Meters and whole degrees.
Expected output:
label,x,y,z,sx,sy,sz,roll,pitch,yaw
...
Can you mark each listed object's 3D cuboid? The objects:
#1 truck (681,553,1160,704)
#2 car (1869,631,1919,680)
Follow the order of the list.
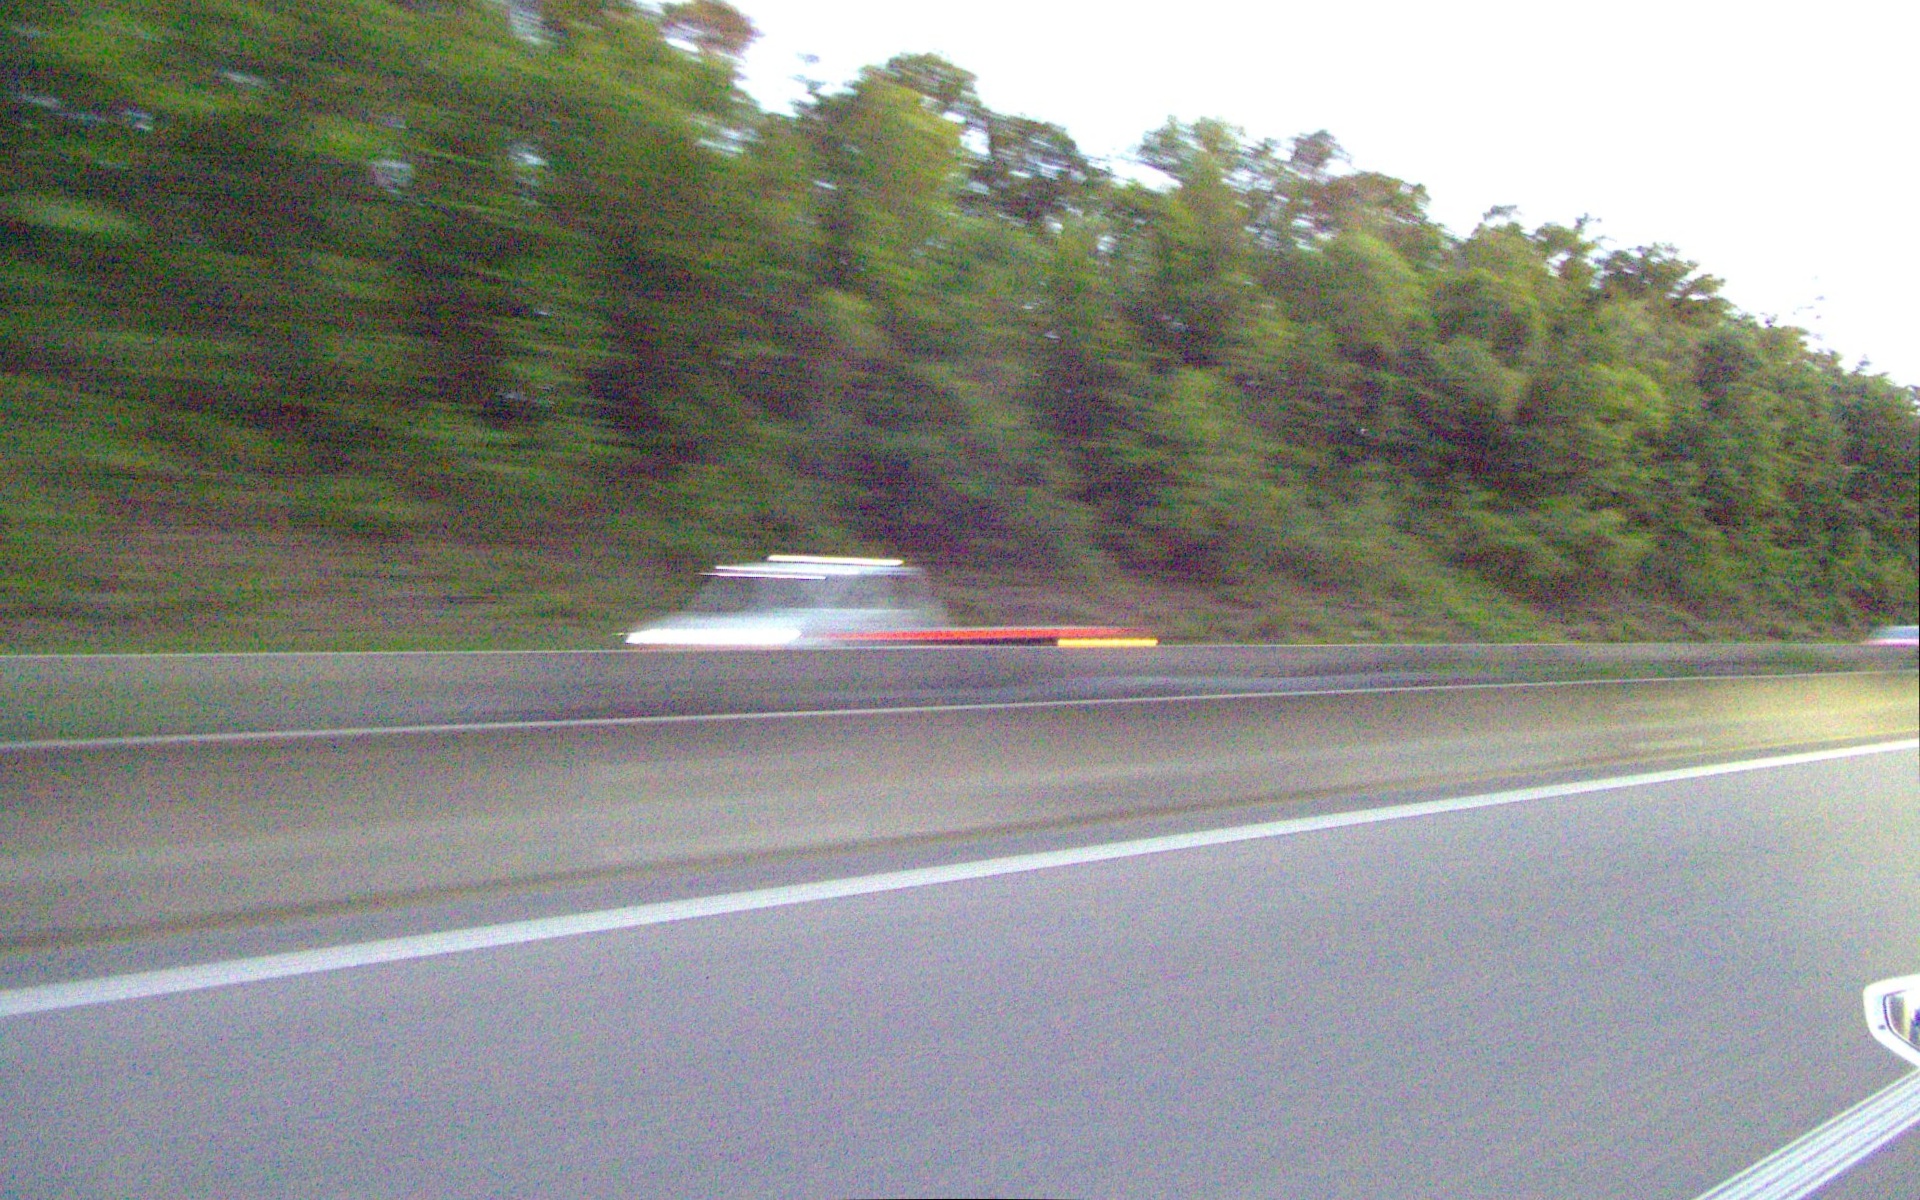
label,x,y,z,sx,sy,sz,roll,pitch,yaw
truck,-0.499,0.590,20.331,9.634,2.543,2.450,1,-1,-29
car,36.512,2.091,38.100,4.660,1.737,1.727,2,-1,-31
